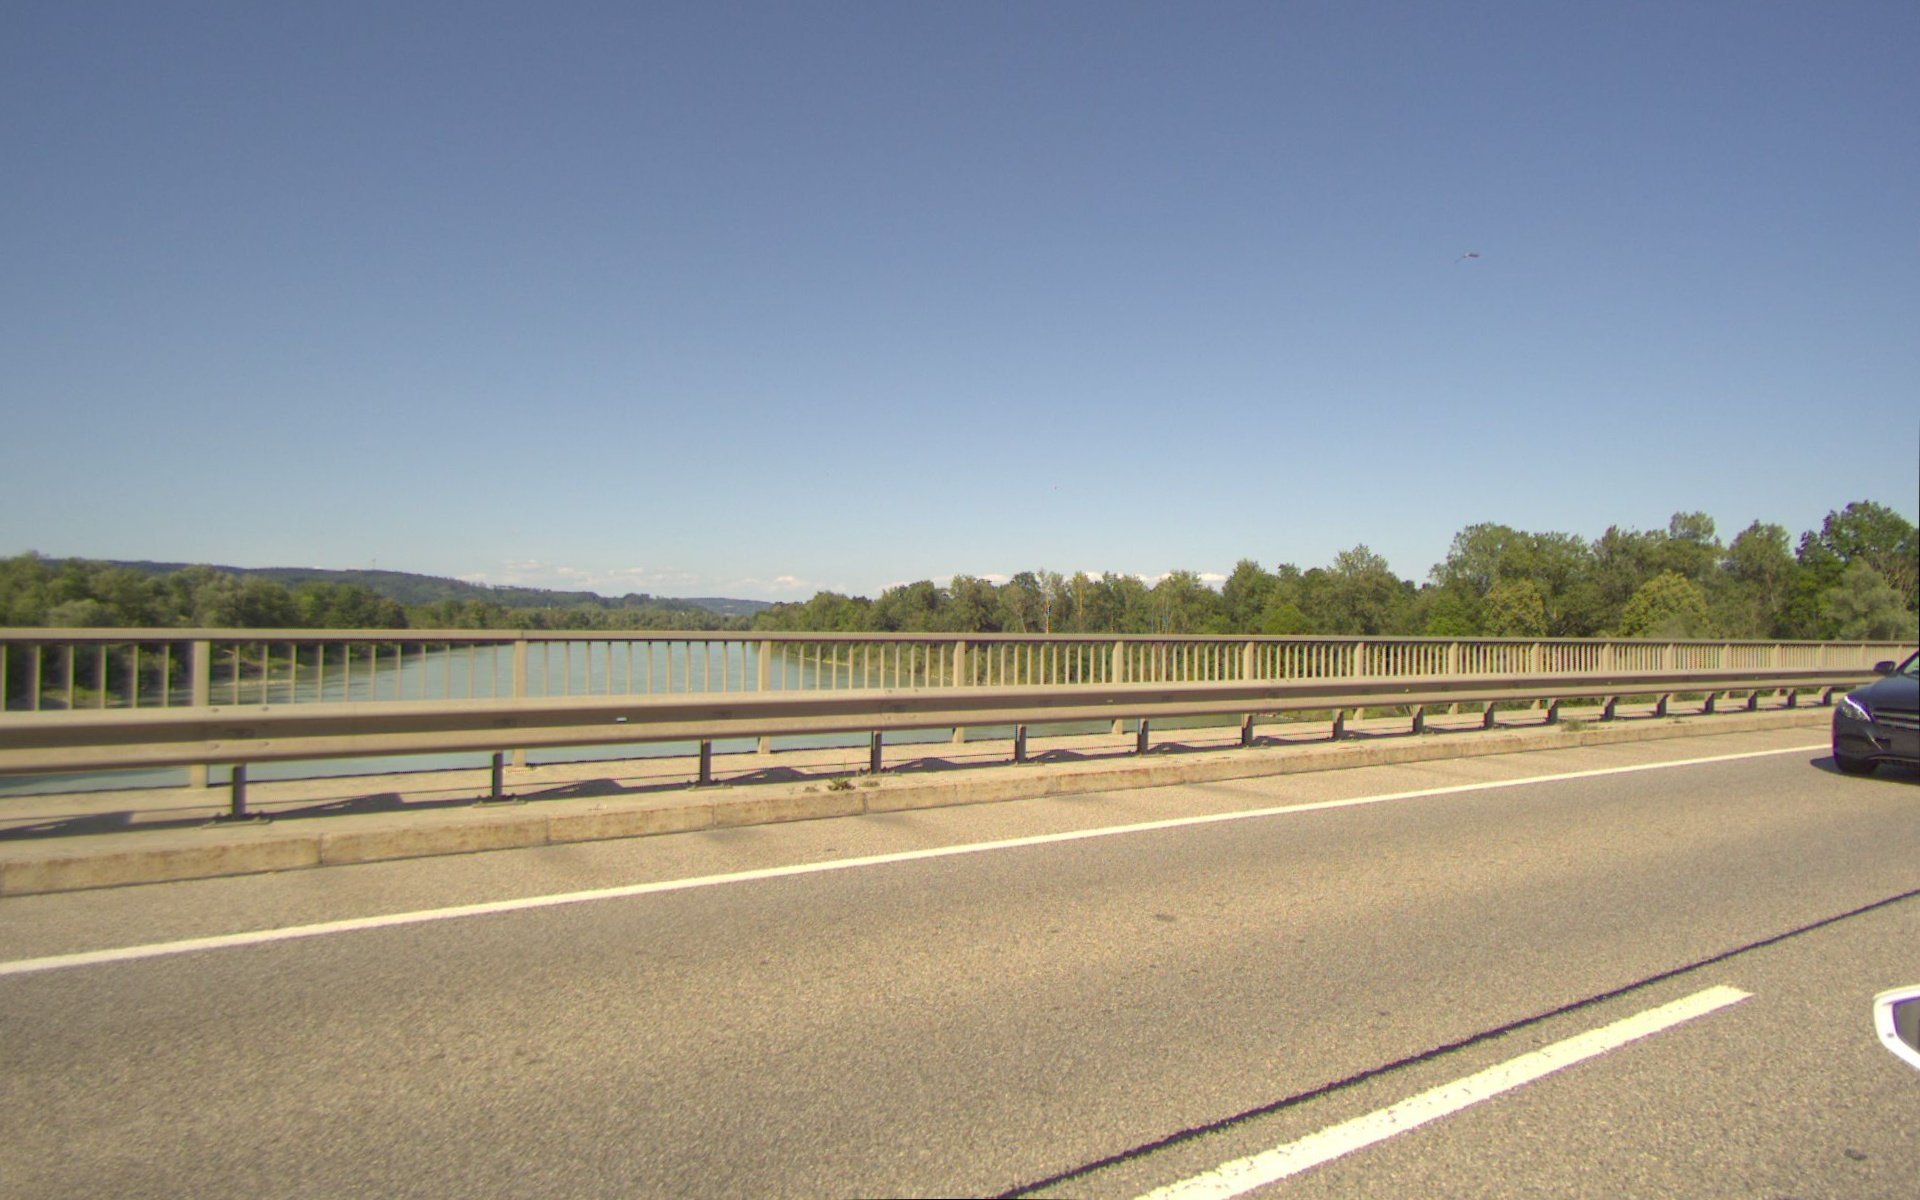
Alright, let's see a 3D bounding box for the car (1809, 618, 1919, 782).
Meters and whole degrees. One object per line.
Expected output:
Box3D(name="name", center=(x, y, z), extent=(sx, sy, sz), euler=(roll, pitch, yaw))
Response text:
Box3D(name="car", center=(10.590, 0.957, 10.133), extent=(4.405, 1.466, 1.756), euler=(1, 0, -31))
